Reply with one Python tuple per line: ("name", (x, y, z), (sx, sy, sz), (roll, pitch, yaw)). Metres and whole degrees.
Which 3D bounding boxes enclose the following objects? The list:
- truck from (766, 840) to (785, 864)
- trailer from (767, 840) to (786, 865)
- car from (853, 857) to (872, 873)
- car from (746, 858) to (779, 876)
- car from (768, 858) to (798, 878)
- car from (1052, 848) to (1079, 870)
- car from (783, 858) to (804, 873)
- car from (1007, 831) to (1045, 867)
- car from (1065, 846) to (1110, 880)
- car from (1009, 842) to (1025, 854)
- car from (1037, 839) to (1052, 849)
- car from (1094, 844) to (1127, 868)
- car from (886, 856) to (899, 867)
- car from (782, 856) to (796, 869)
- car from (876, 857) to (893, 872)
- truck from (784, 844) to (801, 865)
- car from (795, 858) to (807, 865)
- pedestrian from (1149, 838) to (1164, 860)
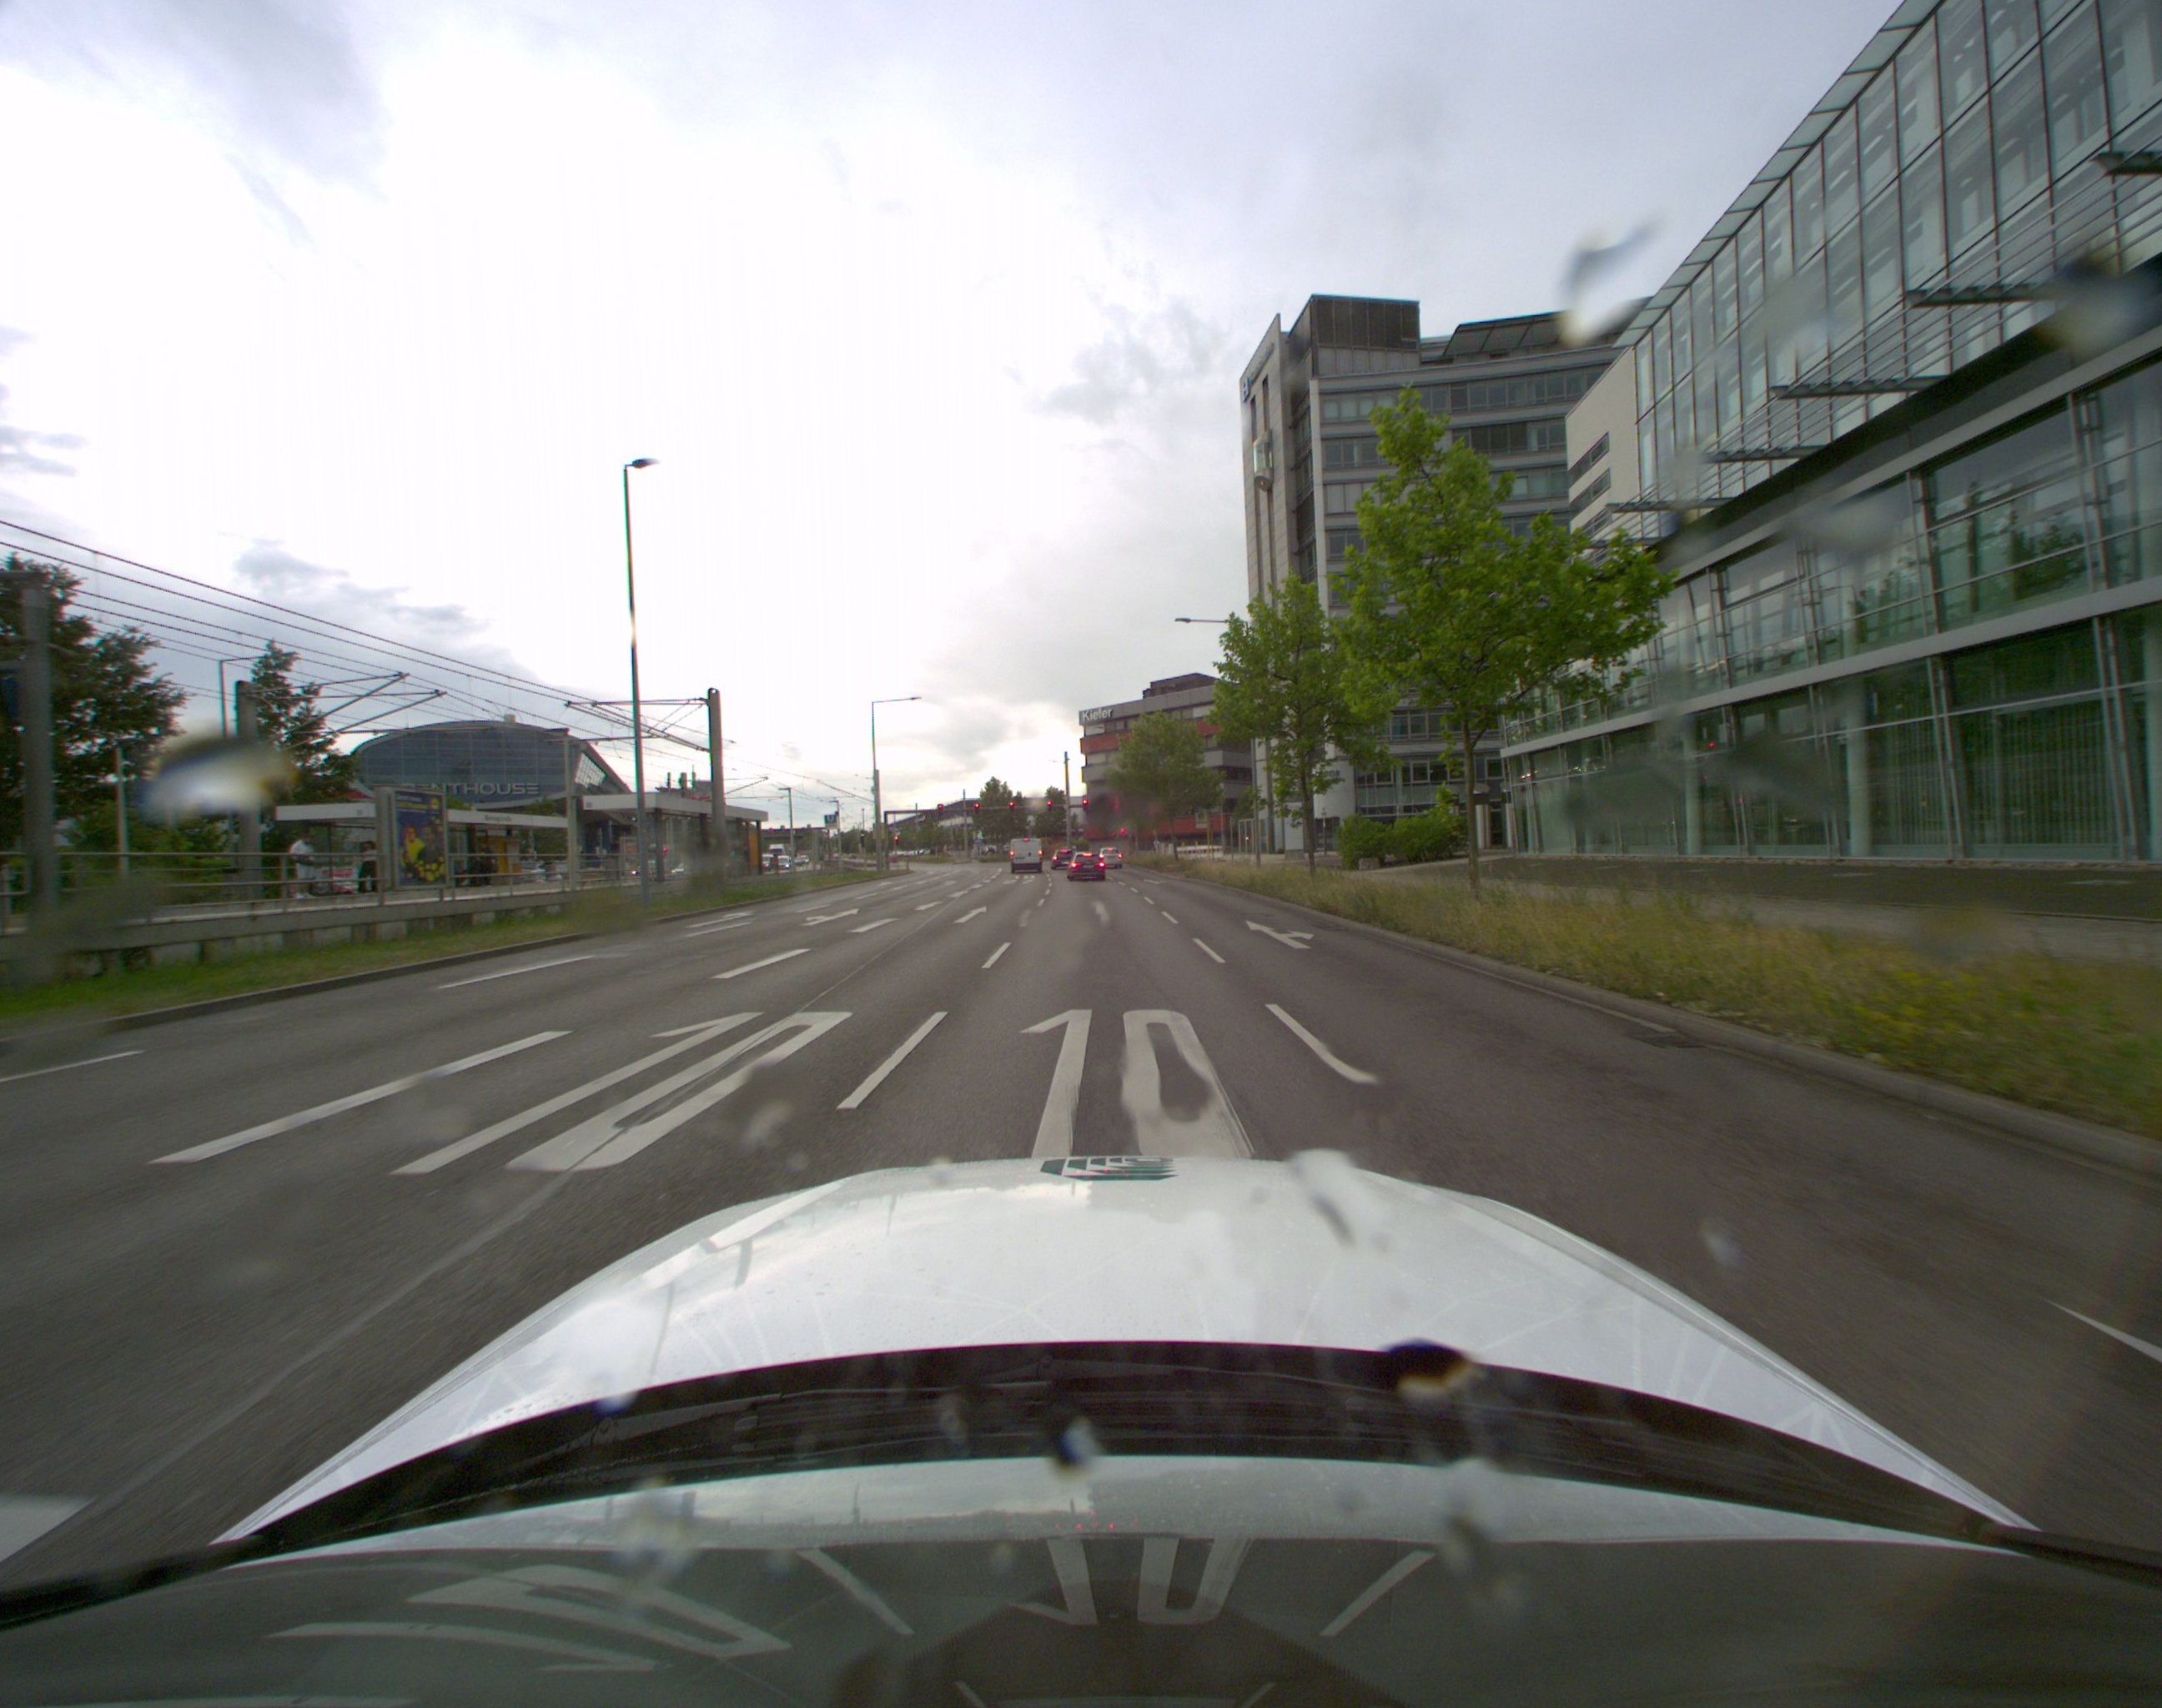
("truck", (-53.348, -0.287, 142.402), (2.841, 3.995, 5.948), (-3, 1, -19))
("trailer", (-54.959, -0.303, 147.039), (2.804, 4.107, 11.367), (-3, 1, -19))
("car", (-28.613, 1.418, 106.884), (1.771, 2.013, 4.337), (0, 1, -7))
("car", (-31.863, 1.279, 81.505), (1.993, 1.731, 5.015), (0, -1, -8))
("car", (-34.323, 1.600, 93.873), (1.990, 2.214, 5.134), (0, -1, -5))
("car", (-1.156, 0.370, 60.159), (1.889, 1.465, 3.905), (-2, 0, -2))
("car", (-37.908, 1.522, 107.514), (1.771, 2.014, 4.336), (0, -1, -7))
("car", (-3.760, -0.325, 54.721), (2.442, 2.294, 4.895), (0, -1, -5))
("car", (0.295, 0.463, 41.333), (1.989, 1.637, 3.994), (0, -1, -4))
("car", (-11.827, -1.158, 150.219), (2.000, 2.032, 3.974), (-3, 1, -19))
("car", (-7.326, -1.946, 162.875), (1.879, 2.014, 3.743), (0, -1, -25))
("car", (2.120, 0.165, 59.486), (1.826, 1.656, 3.992), (-2, 0, -5))
("car", (-33.315, 1.361, 144.109), (1.778, 2.014, 4.319), (0, -1, -19))
("car", (-38.459, 1.170, 107.306), (1.532, 1.666, 4.244), (0, -1, -17))
("car", (-27.113, 1.454, 112.216), (1.771, 2.013, 4.337), (0, 1, -7))
("truck", (-59.332, 0.081, 167.623), (2.670, 4.130, 6.156), (-3, 0, -14))
("car", (-52.908, 1.346, 153.990), (1.911, 1.264, 4.392), (0, -1, -14))
("pedestrian", (7.428, -0.489, 80.262), (1.141, 2.125, 1.221), (-3, 2, -4))
